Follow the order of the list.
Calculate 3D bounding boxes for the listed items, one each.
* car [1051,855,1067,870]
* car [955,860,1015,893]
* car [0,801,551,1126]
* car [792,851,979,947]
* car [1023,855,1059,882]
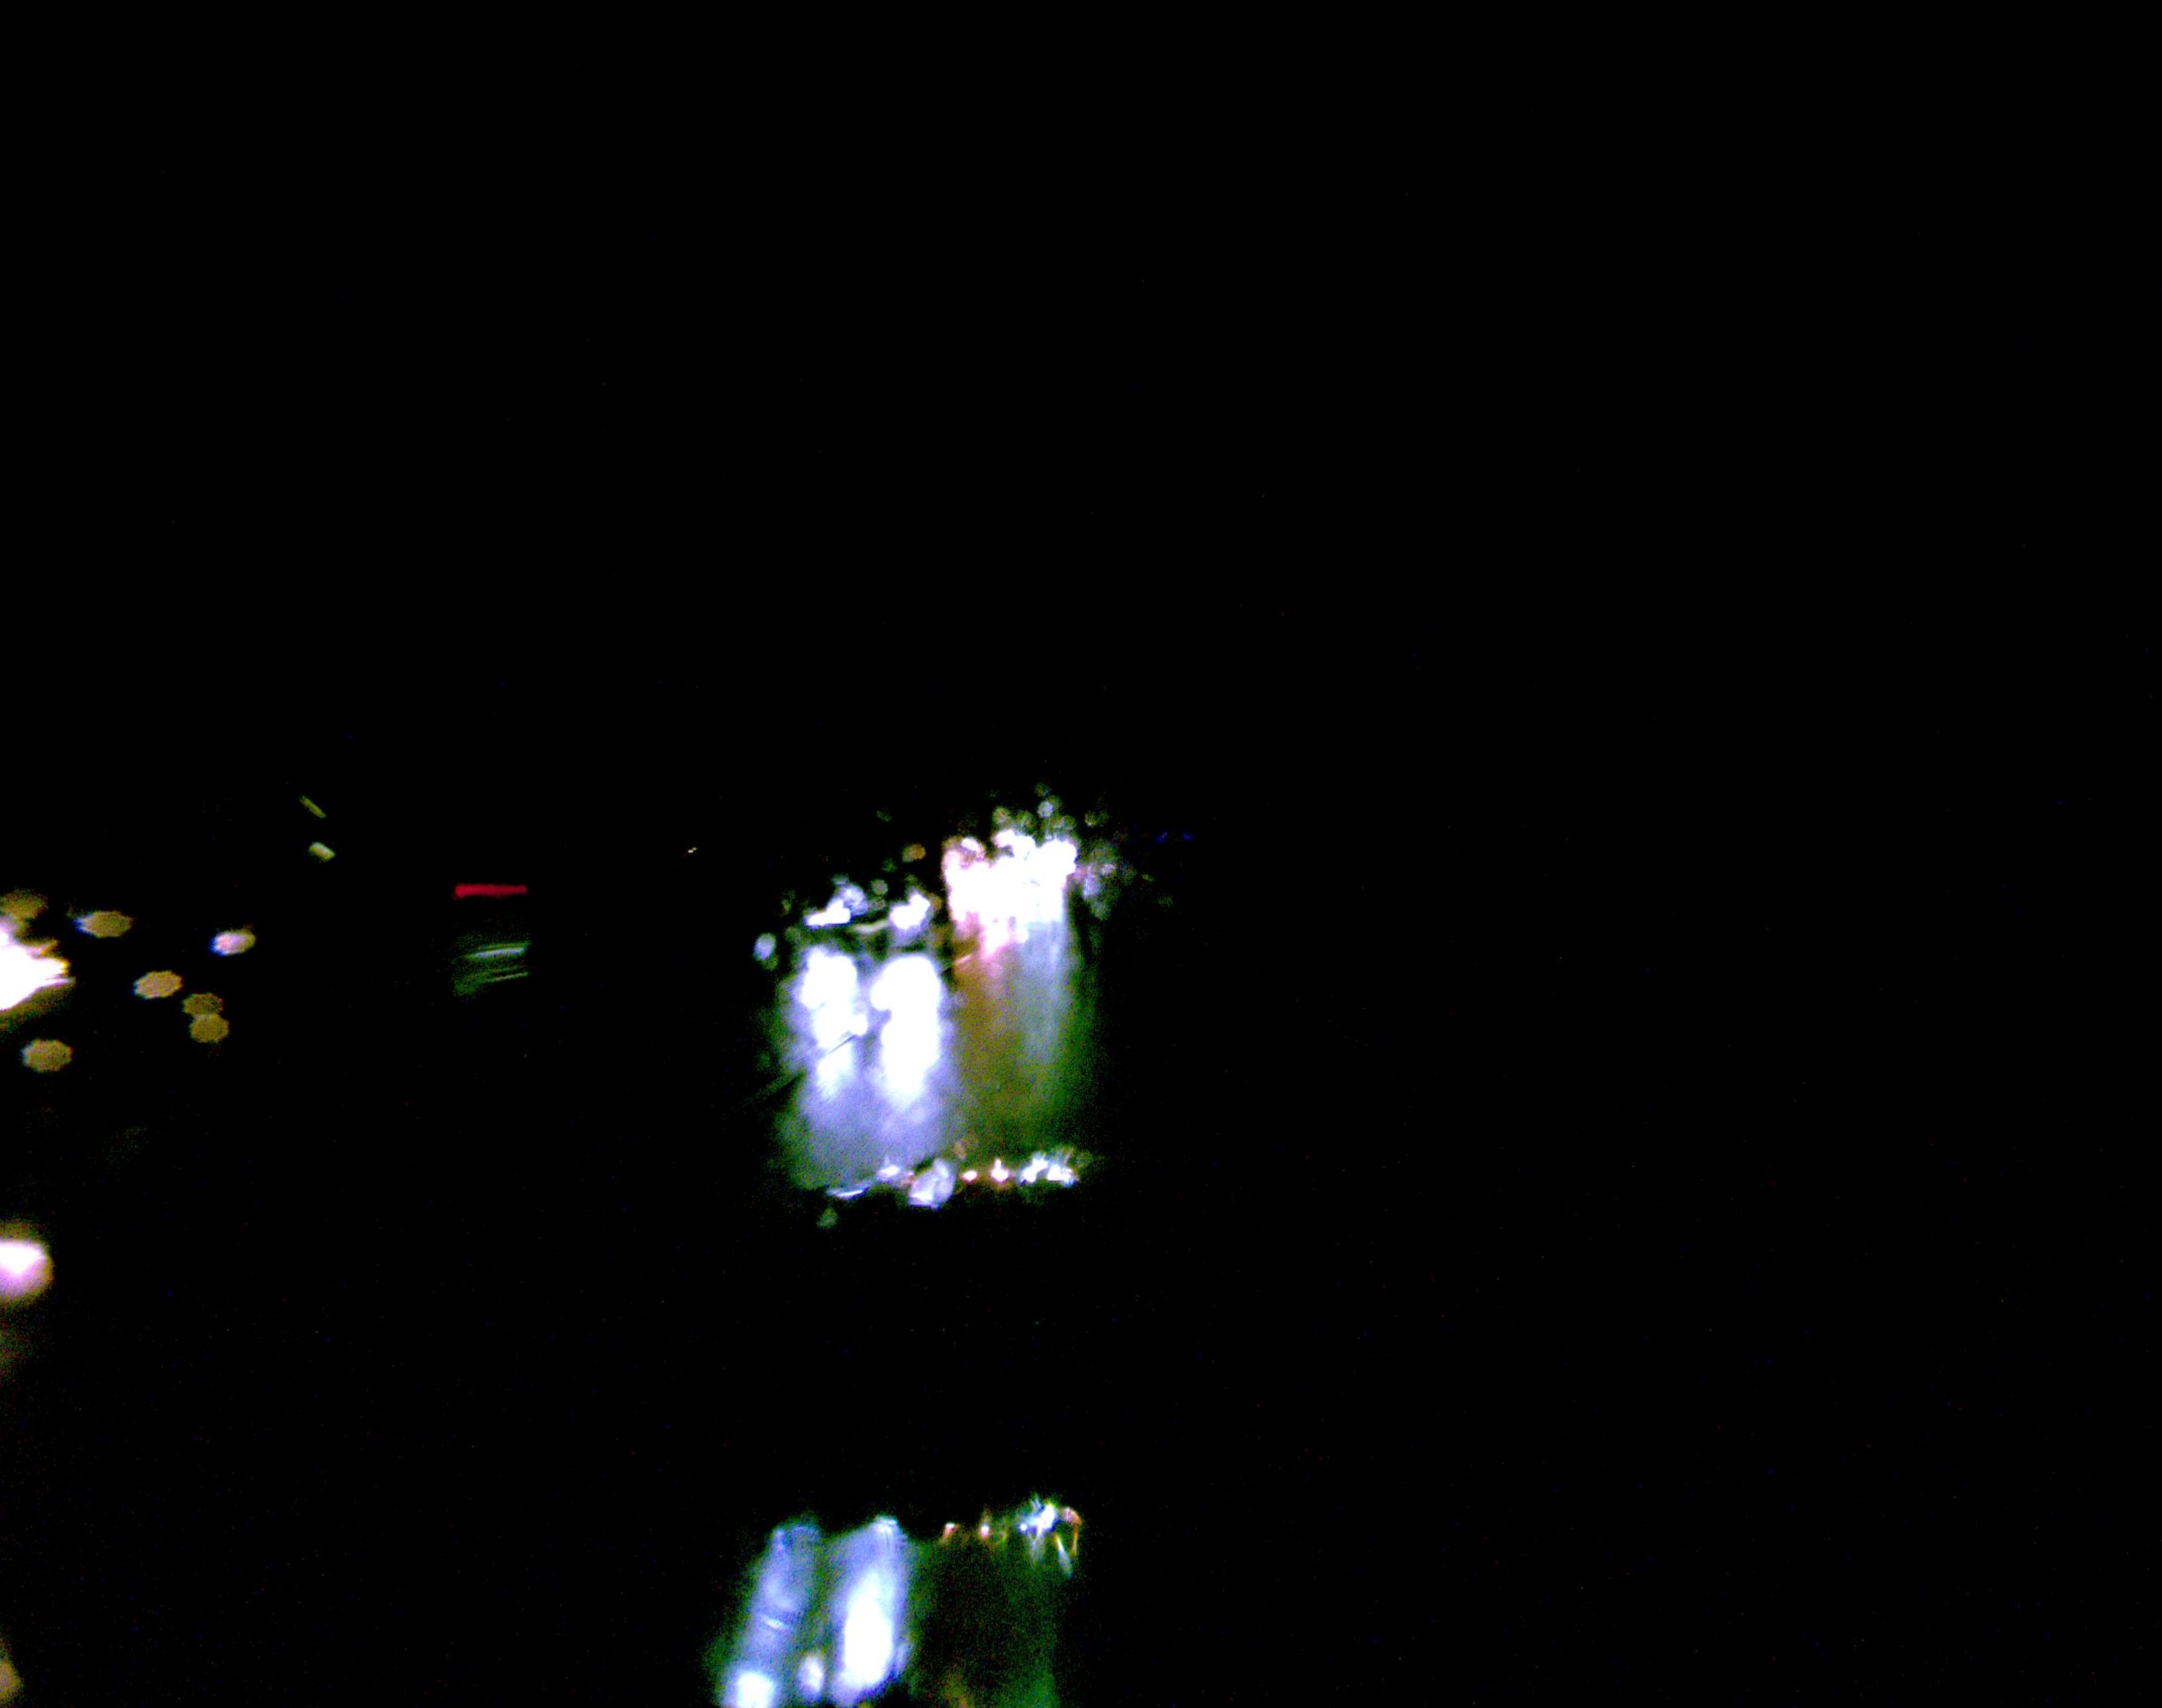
[{"bbox_3d":[-2.474,0.990,93.052,1.648,1.683,4.521,0,0,1],"label":"car"},{"bbox_3d":[-4.359,0.997,37.795,1.795,1.383,4.779,0,0,6],"label":"car"},{"bbox_3d":[-7.033,0.640,6.286,1.983,1.865,5.328,-1,0,6],"label":"car"},{"bbox_3d":[-3.508,0.748,15.697,2.100,1.575,4.686,0,0,5],"label":"car"},{"bbox_3d":[-2.485,0.908,51.634,1.916,1.615,4.086,0,0,2],"label":"car"}]
